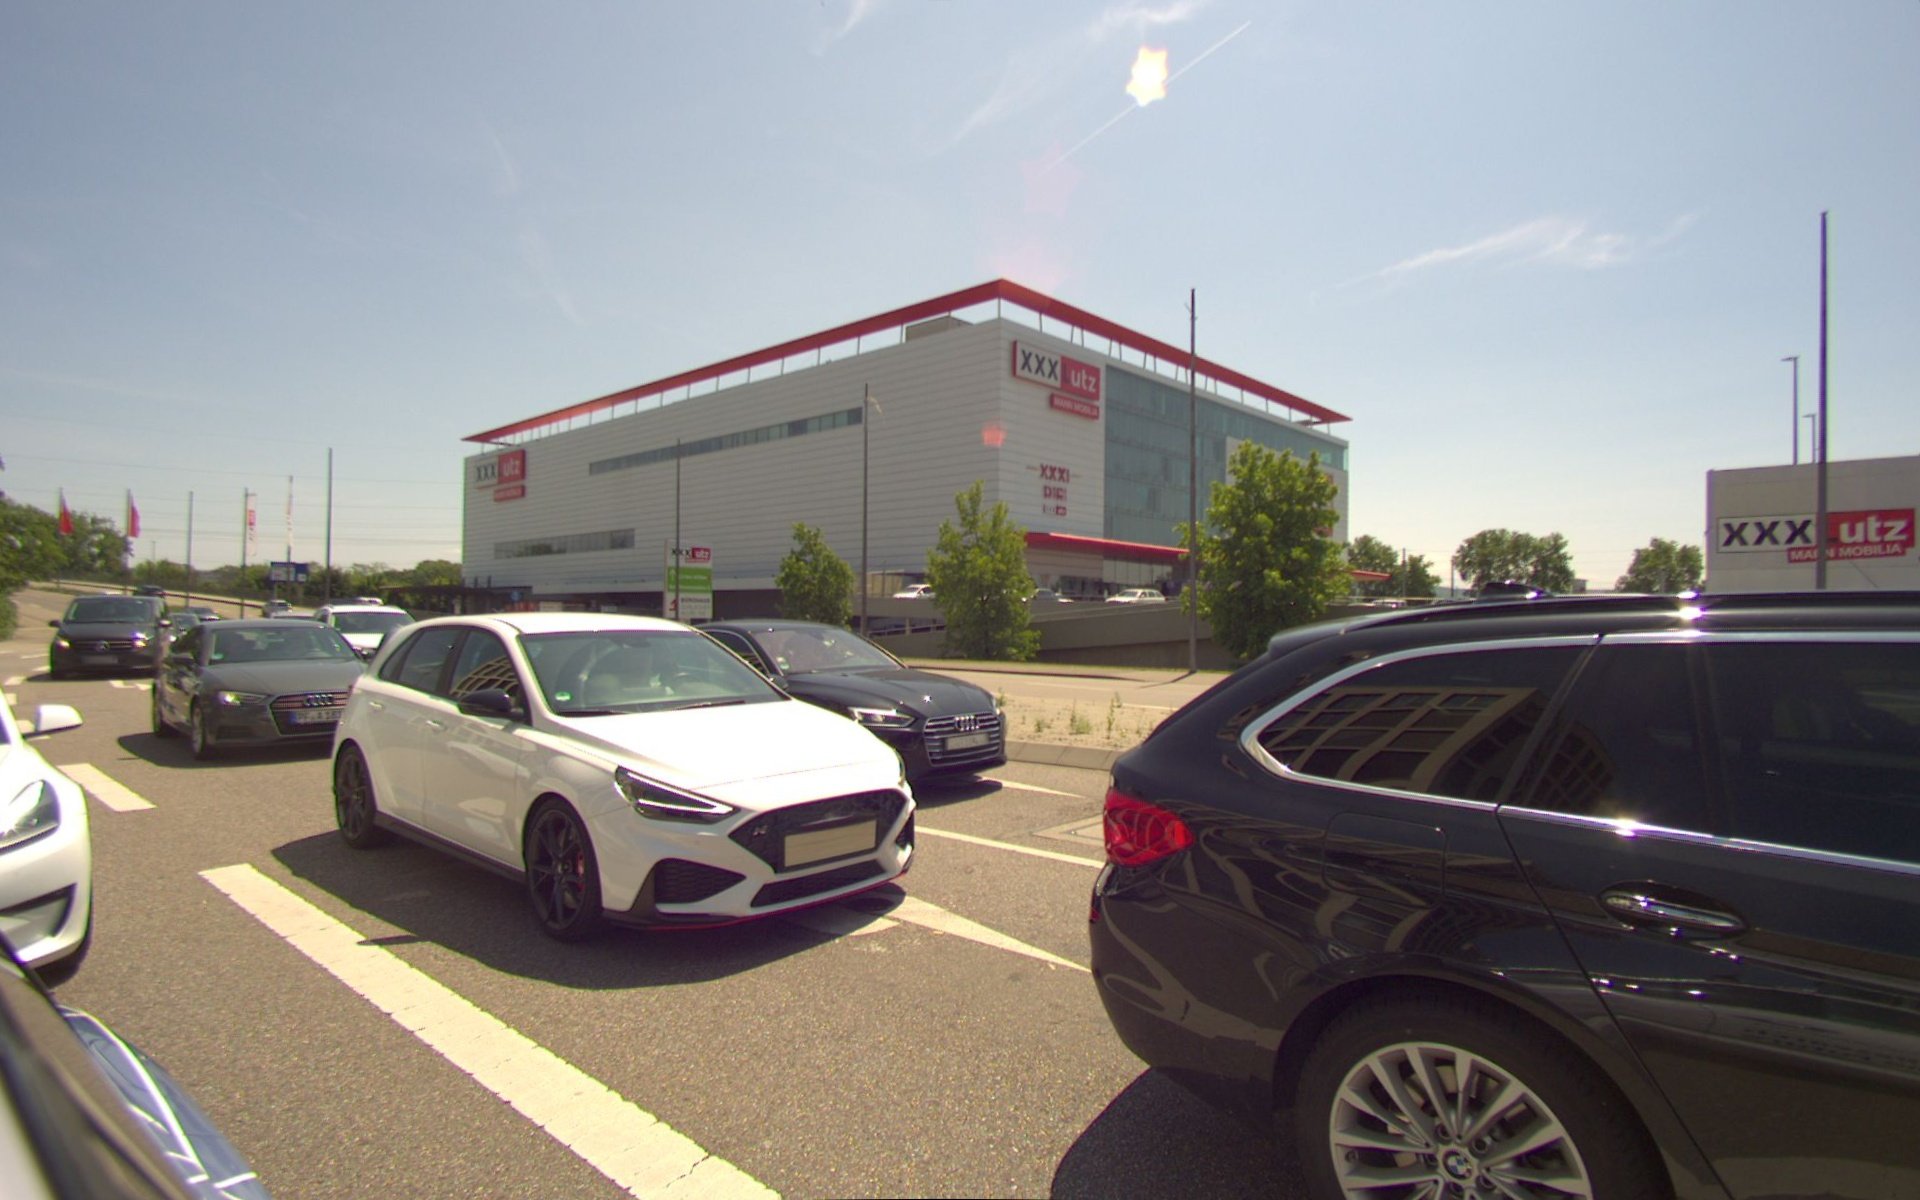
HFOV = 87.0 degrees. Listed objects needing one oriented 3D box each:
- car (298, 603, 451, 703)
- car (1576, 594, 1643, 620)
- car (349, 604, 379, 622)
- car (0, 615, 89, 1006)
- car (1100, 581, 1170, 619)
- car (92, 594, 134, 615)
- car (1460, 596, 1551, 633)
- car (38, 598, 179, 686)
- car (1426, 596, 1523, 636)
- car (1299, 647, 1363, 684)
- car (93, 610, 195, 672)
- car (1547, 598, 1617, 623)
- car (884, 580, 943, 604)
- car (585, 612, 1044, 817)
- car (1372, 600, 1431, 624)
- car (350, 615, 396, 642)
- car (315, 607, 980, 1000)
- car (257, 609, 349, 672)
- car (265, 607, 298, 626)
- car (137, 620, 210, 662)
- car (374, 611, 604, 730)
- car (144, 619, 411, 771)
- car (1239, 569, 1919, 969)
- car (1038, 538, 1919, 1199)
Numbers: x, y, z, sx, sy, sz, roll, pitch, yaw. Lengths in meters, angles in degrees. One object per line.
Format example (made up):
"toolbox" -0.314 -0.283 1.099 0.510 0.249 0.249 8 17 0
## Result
"car" -11.273 0.923 19.335 1.743 1.653 4.498 0 0 -40
"car" 52.781 0.555 82.295 4.328 2.029 1.972 0 -2 42
"car" -79.651 1.769 135.264 4.815 2.300 2.162 -1 -2 44
"car" -5.597 0.811 4.680 4.282 1.447 1.800 -1 0 41
"car" 9.991 0.052 57.561 4.407 2.029 1.680 2 -2 -44
"car" -79.753 0.401 95.297 3.988 1.918 1.978 -1 0 33
"car" 30.863 0.839 57.298 4.323 2.029 1.975 0 -2 38
"car" -19.666 0.918 23.580 1.865 1.835 4.850 1 -1 -33
"car" 27.083 0.863 53.326 4.323 2.029 1.974 0 -2 38
"car" 19.042 3.312 51.897 1.997 1.719 3.949 -1 -2 38
"car" -23.470 1.156 29.245 1.784 1.652 4.011 1 -2 -32
"car" 45.288 0.749 73.770 4.134 1.754 1.759 0 -2 42
"car" -3.154 -0.523 69.267 1.718 1.519 3.942 -1 -2 44
"car" -1.519 0.859 9.173 4.466 1.415 1.654 -2 -1 42
"car" 36.026 0.972 82.622 4.000 1.915 1.972 -1 -2 43
"car" -38.851 1.879 66.959 1.839 1.736 4.048 2 -2 -42
"car" -2.006 0.782 5.772 4.068 1.447 1.769 -1 -1 41
"car" -16.456 0.975 25.270 1.741 1.433 3.908 -1 -1 -36
"car" -64.908 1.630 96.824 4.044 1.736 1.841 -2 -3 45
"car" -28.227 1.450 36.416 1.582 1.451 3.744 1 -2 -30
"car" -7.042 0.937 14.883 1.744 1.413 4.435 -3 1 -43
"car" -7.794 0.922 11.390 1.744 1.393 4.092 2 -2 -45
"car" 3.539 0.617 4.684 4.009 1.433 1.674 -2 -1 43
"car" 2.496 0.636 1.745 4.553 1.451 1.779 -1 -1 40
